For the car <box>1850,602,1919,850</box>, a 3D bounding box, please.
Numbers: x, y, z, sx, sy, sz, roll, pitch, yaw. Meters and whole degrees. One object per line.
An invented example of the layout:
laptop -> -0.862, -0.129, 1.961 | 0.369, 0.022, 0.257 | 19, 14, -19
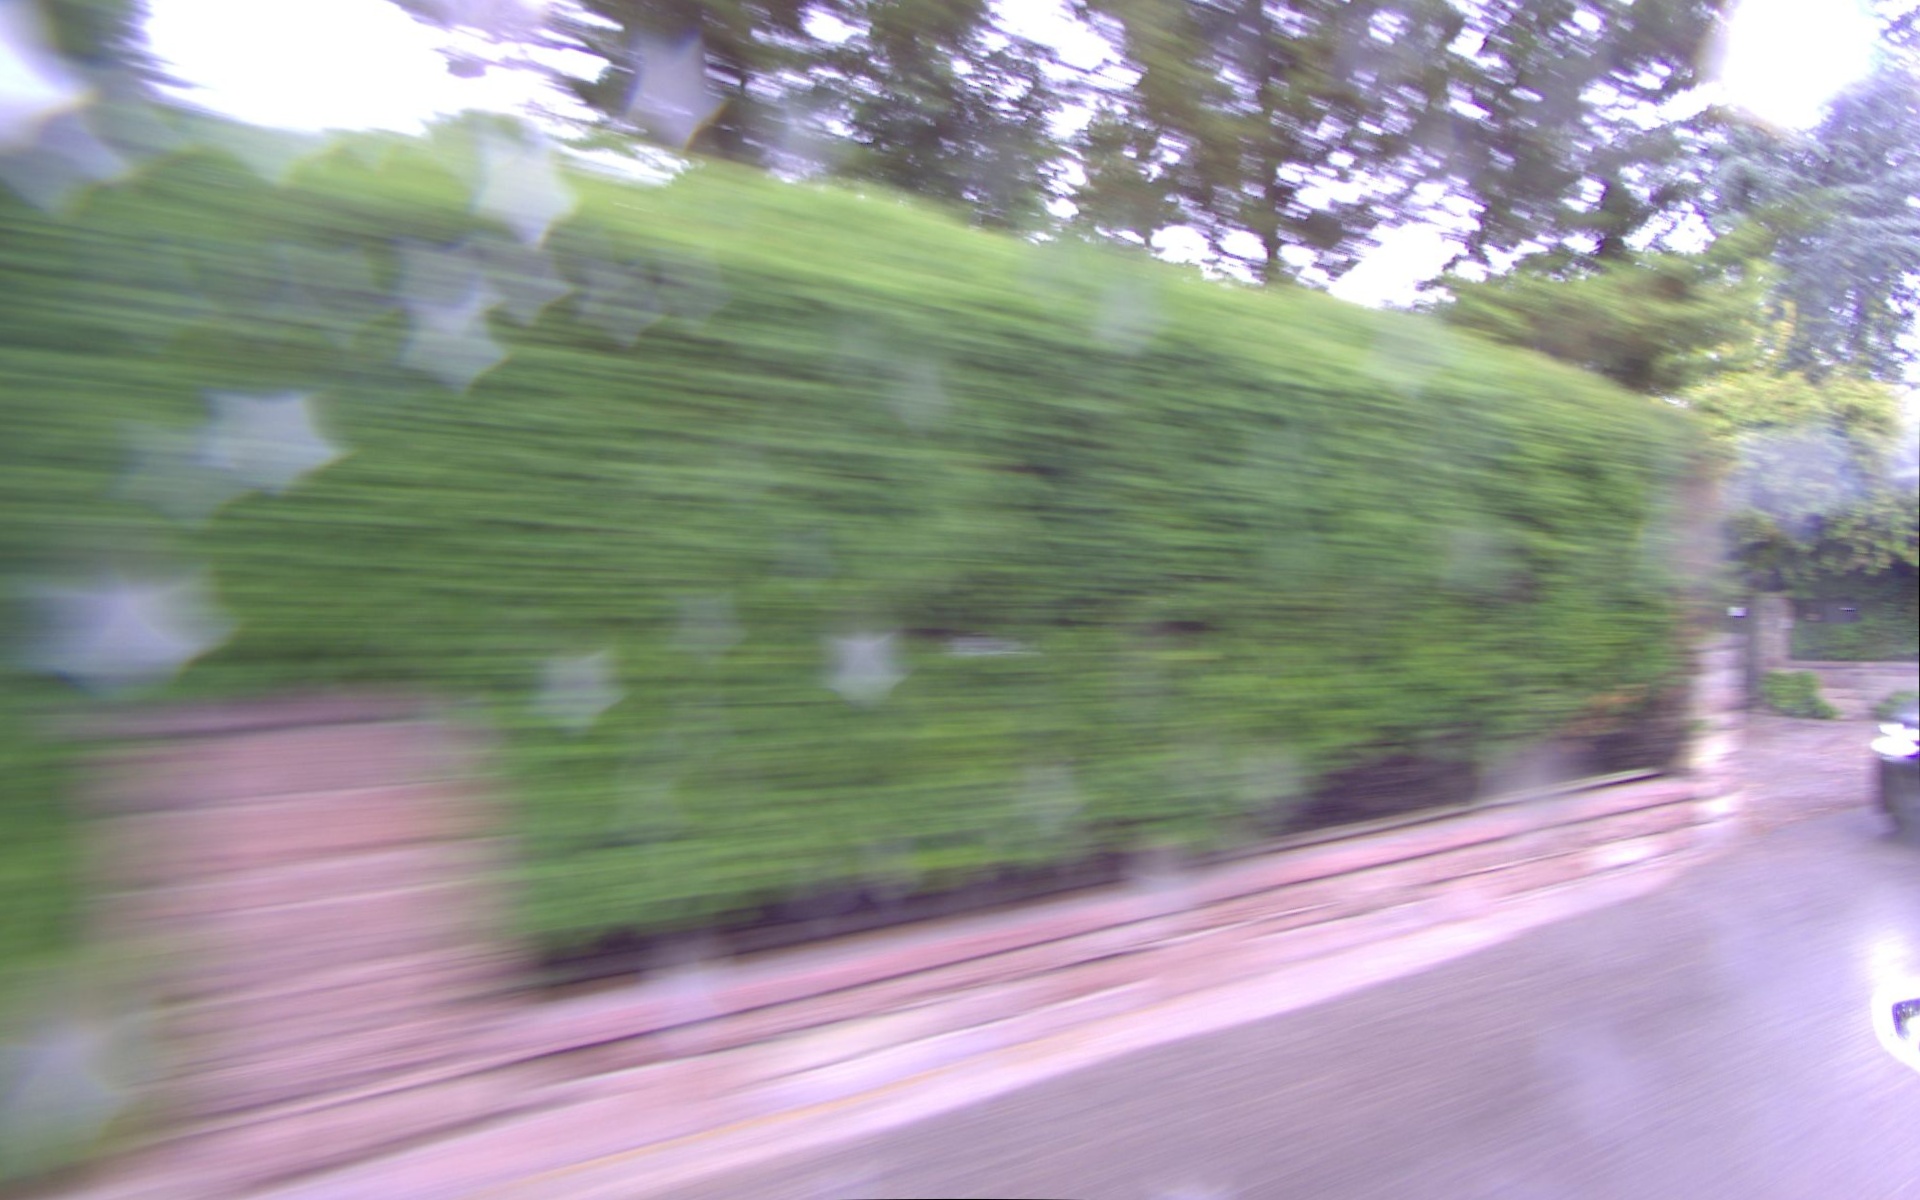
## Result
car -> 8.159, 0.831, 6.902 | 4.372, 1.543, 1.879 | 1, 0, -32
